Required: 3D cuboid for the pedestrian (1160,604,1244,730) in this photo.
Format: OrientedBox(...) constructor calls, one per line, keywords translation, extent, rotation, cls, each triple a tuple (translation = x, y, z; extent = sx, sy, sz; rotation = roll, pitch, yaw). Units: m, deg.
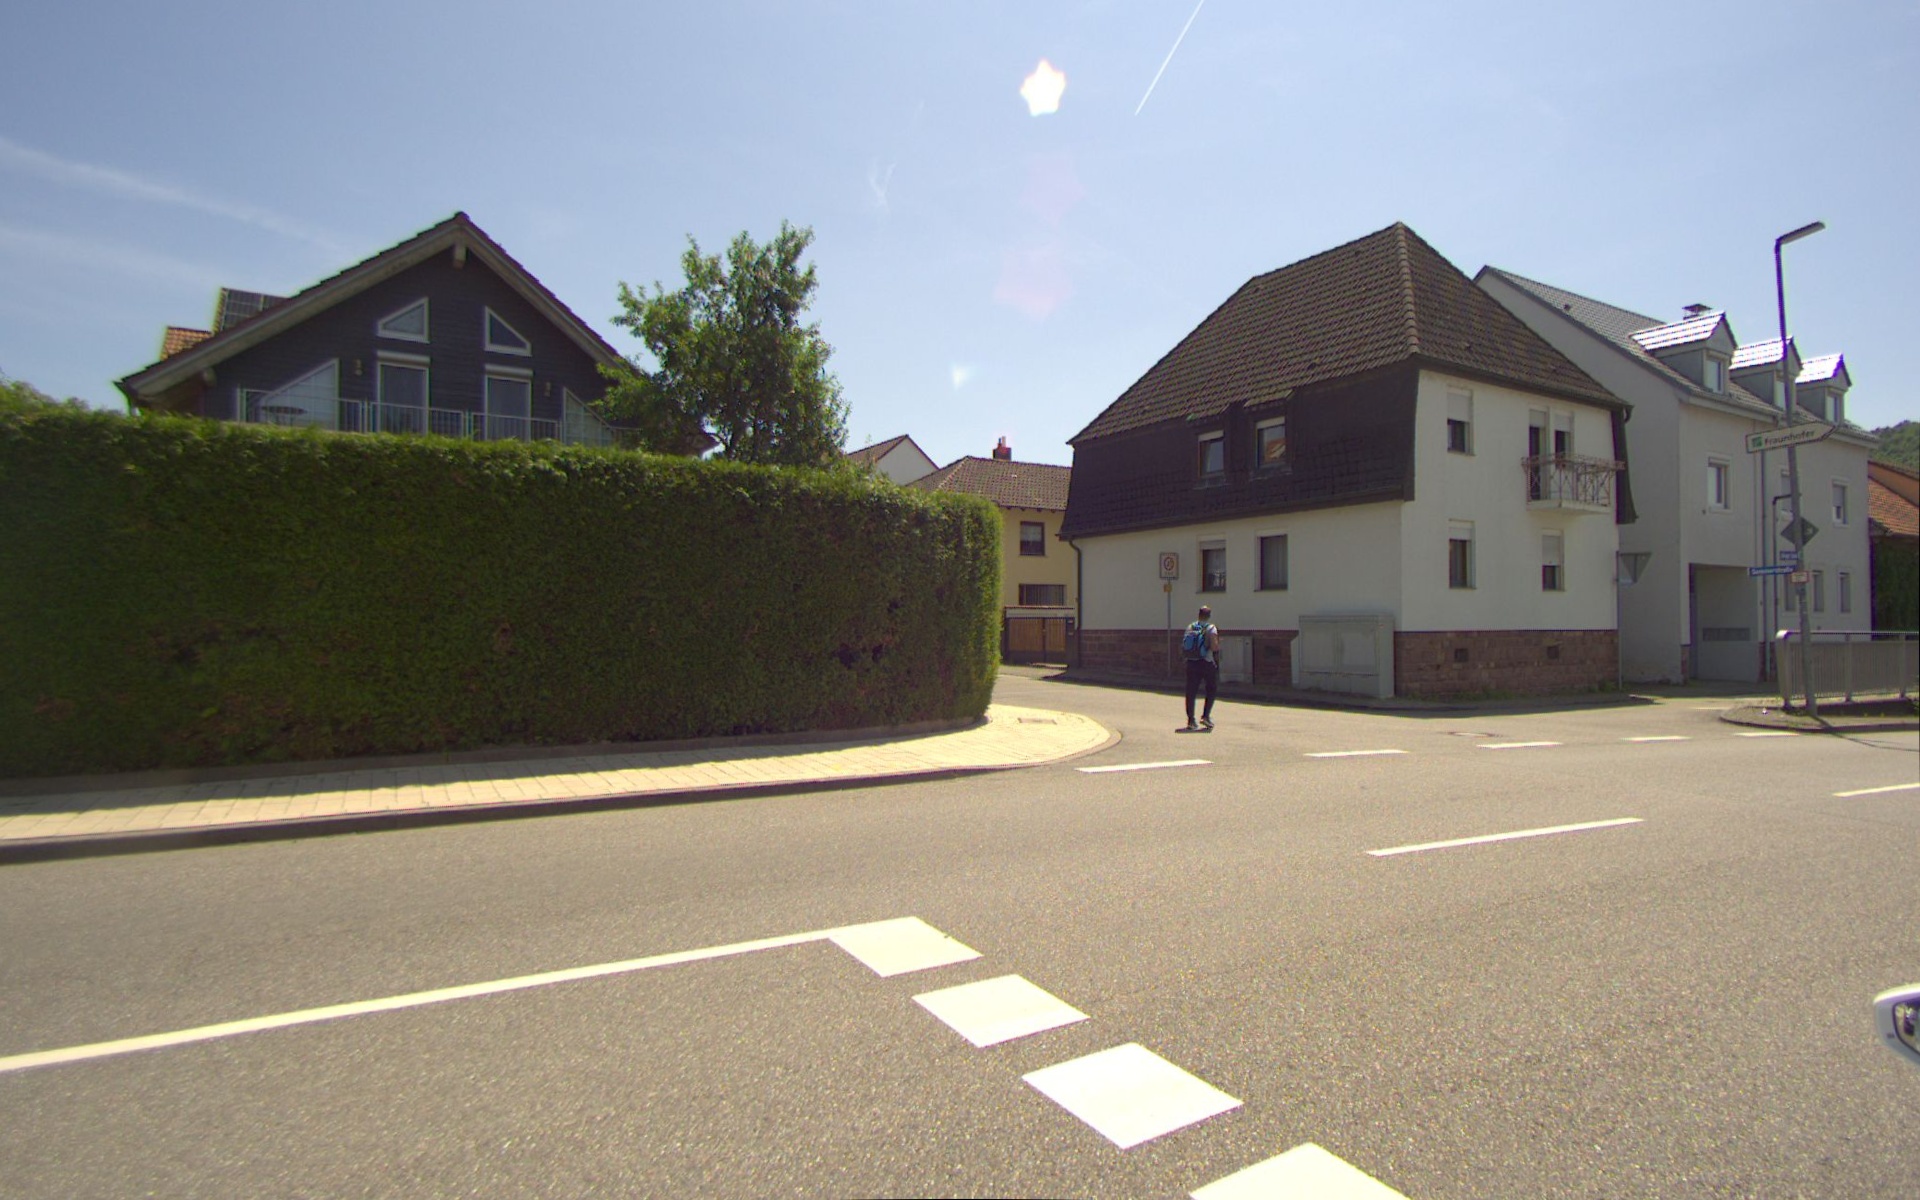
OrientedBox(translation=(3.499, 0.962, 14.518), extent=(0.847, 1.751, 0.723), rotation=(4, -2, -32), cls="pedestrian")
